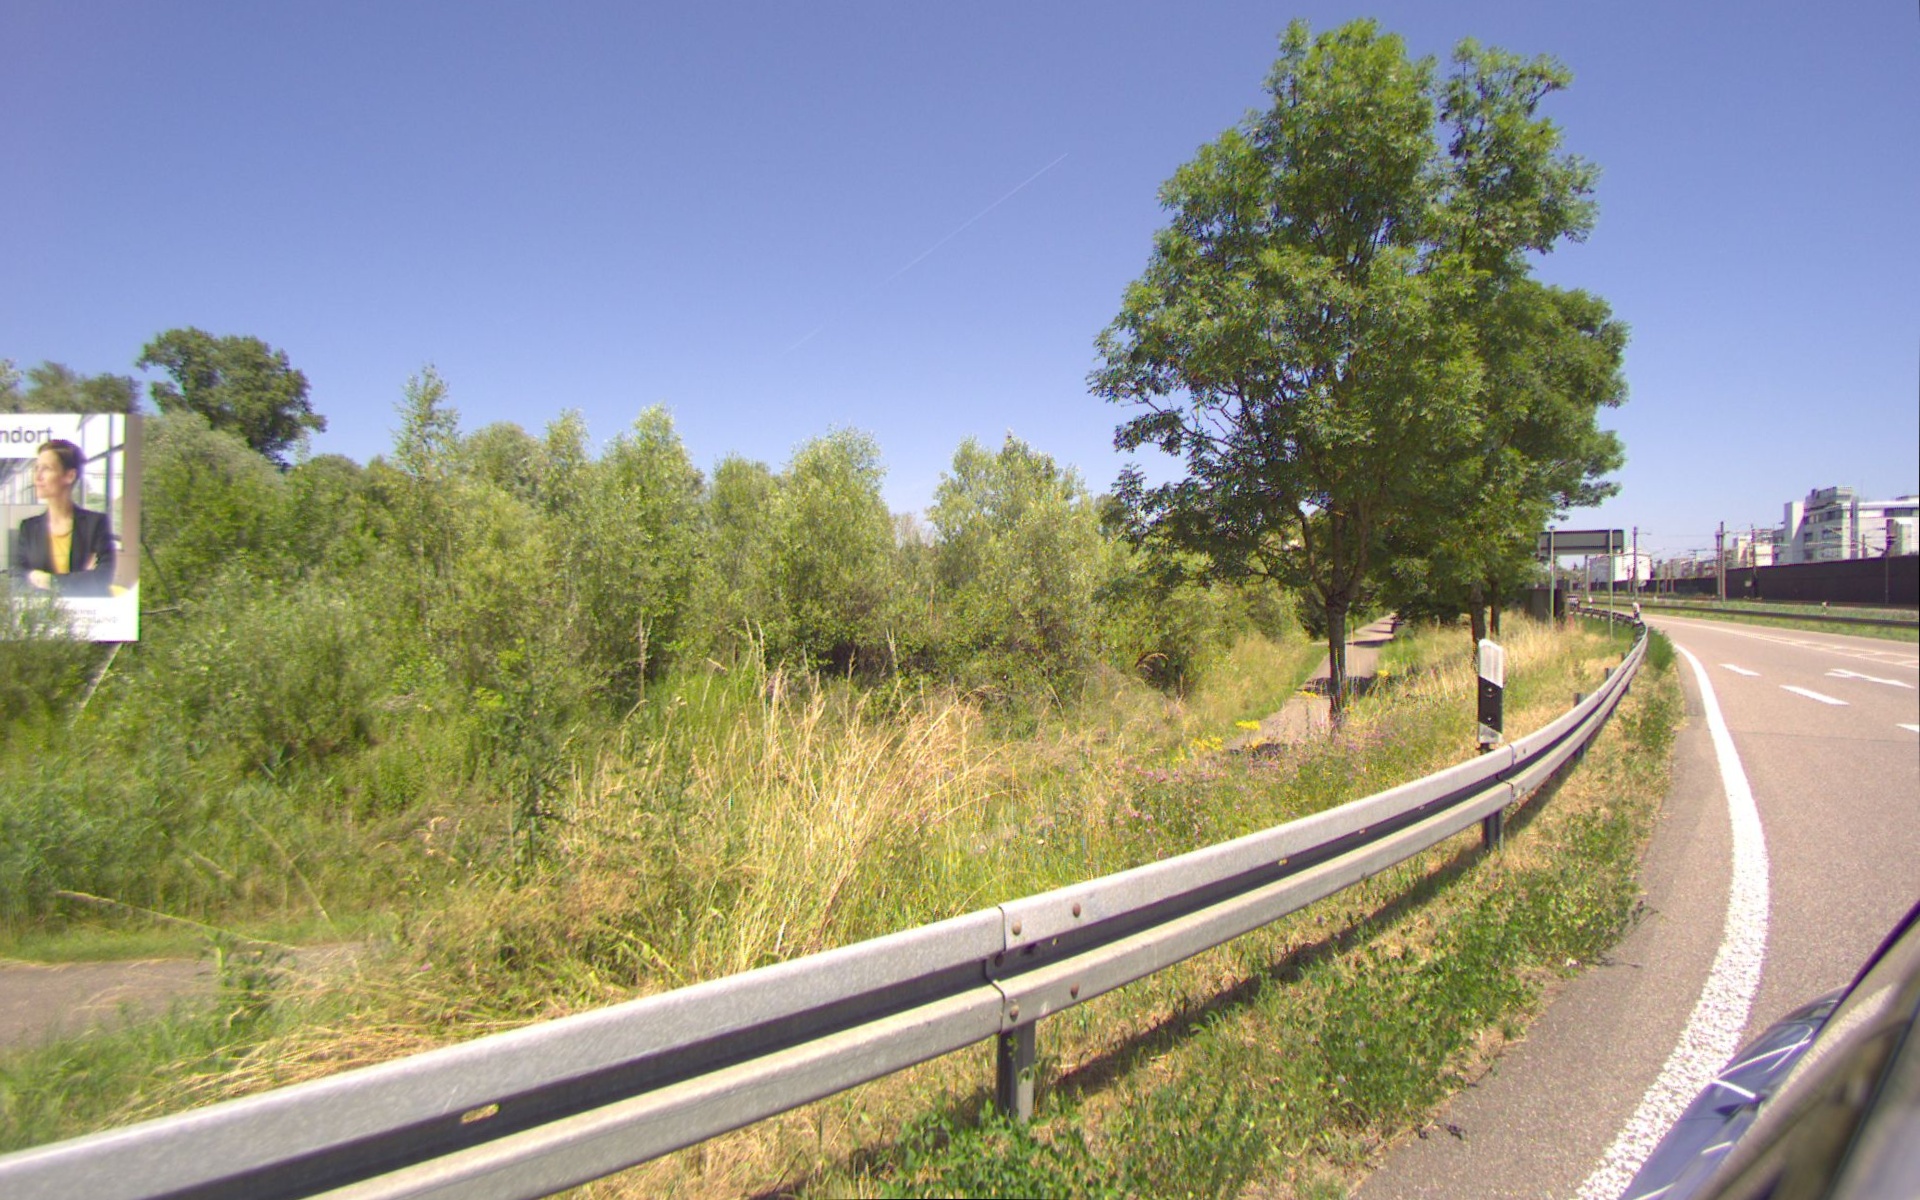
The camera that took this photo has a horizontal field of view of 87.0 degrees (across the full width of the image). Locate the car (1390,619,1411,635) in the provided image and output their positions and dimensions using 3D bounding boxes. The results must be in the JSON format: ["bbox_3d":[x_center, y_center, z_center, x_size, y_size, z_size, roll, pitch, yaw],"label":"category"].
[{"bbox_3d":[50.074,3.020,114.958,1.980,1.705,3.964,-1,-1,26],"label":"car"}]

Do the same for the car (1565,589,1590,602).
[{"bbox_3d":[72.405,-0.538,118.701,1.851,1.503,4.846,1,1,25],"label":"car"}]

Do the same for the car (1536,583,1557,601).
[{"bbox_3d":[68.340,-0.955,117.928,1.982,2.039,3.960,1,1,29],"label":"car"}]
